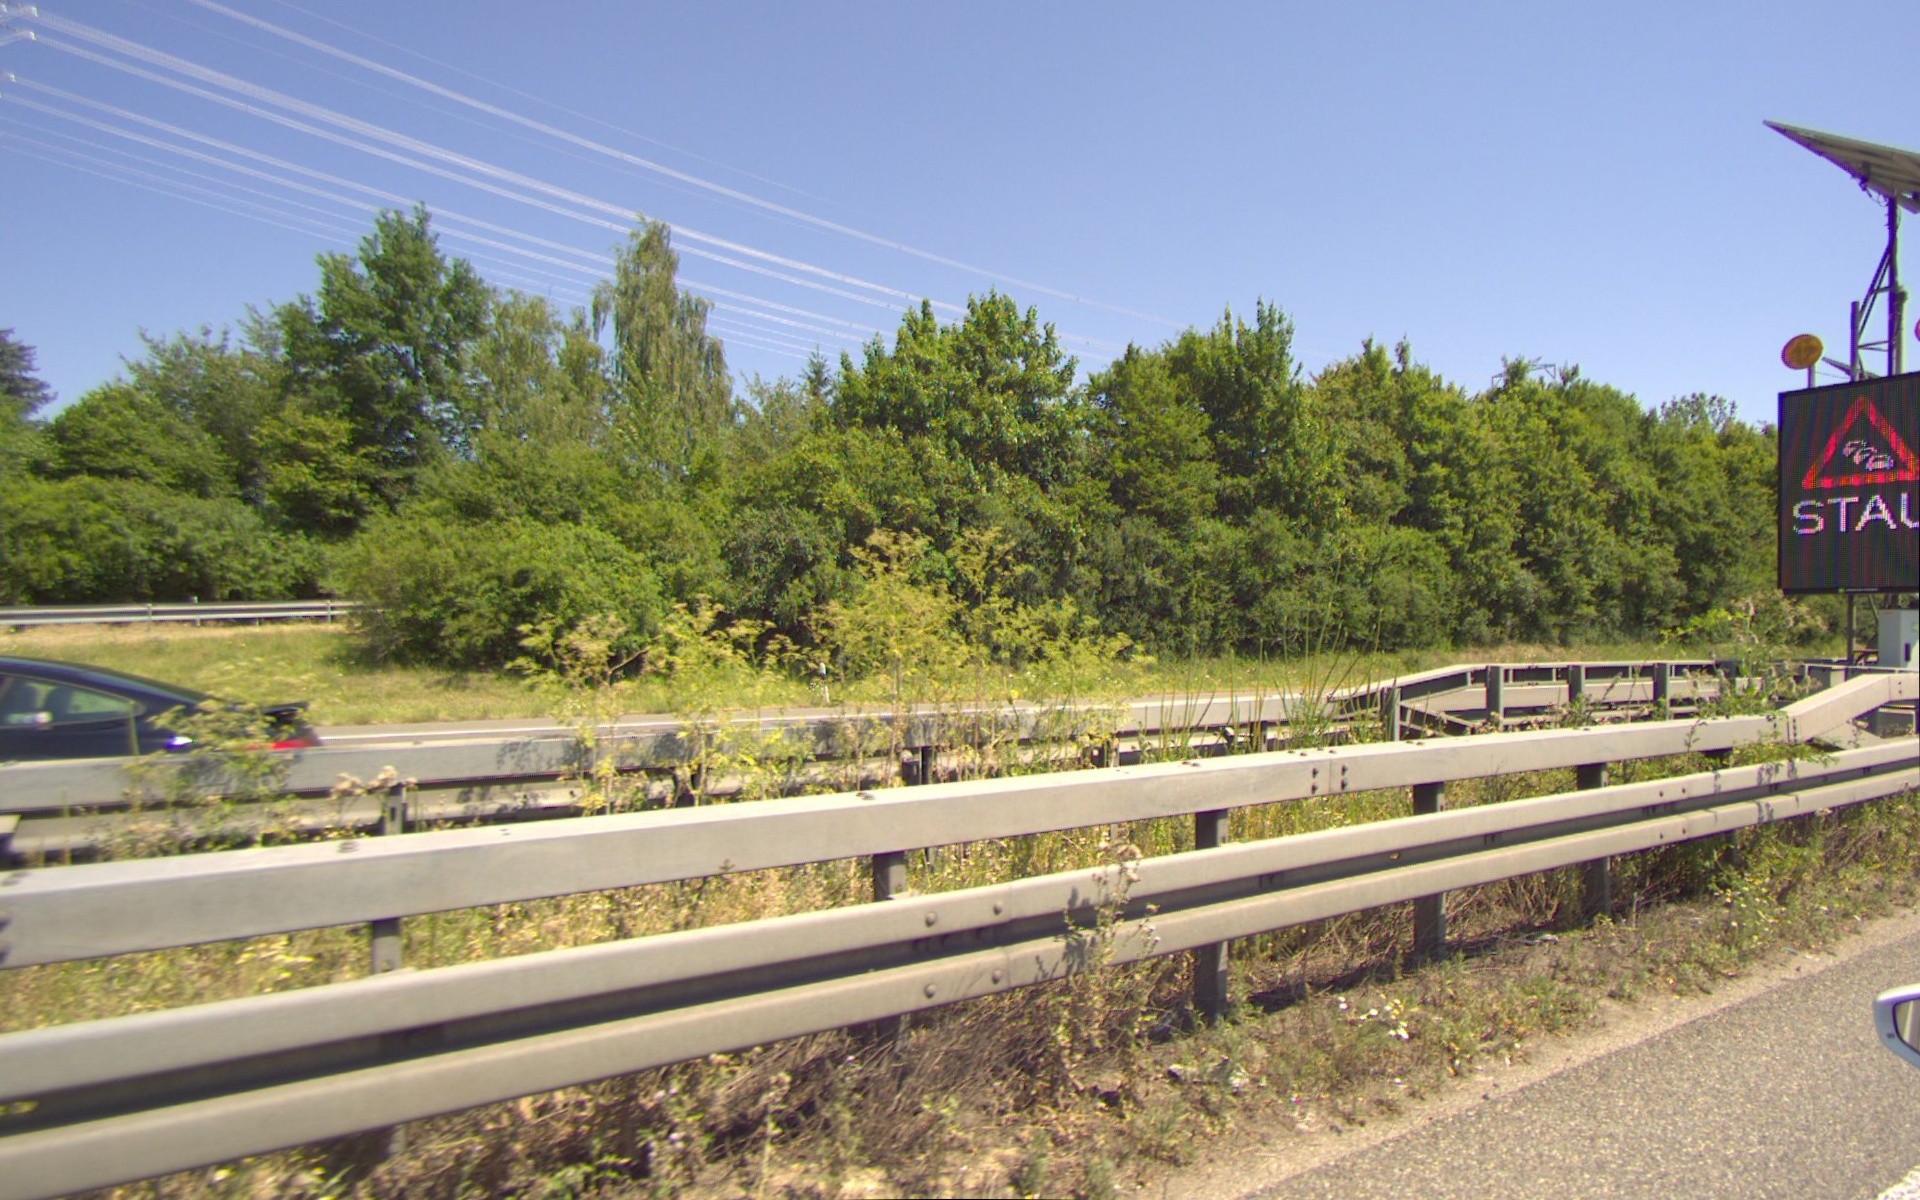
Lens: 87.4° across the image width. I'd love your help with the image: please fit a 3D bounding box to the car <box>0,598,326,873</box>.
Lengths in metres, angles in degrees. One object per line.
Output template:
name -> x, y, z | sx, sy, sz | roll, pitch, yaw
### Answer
car -> -6.290, 0.783, 6.158 | 3.953, 1.546, 1.716 | 1, -3, -30
